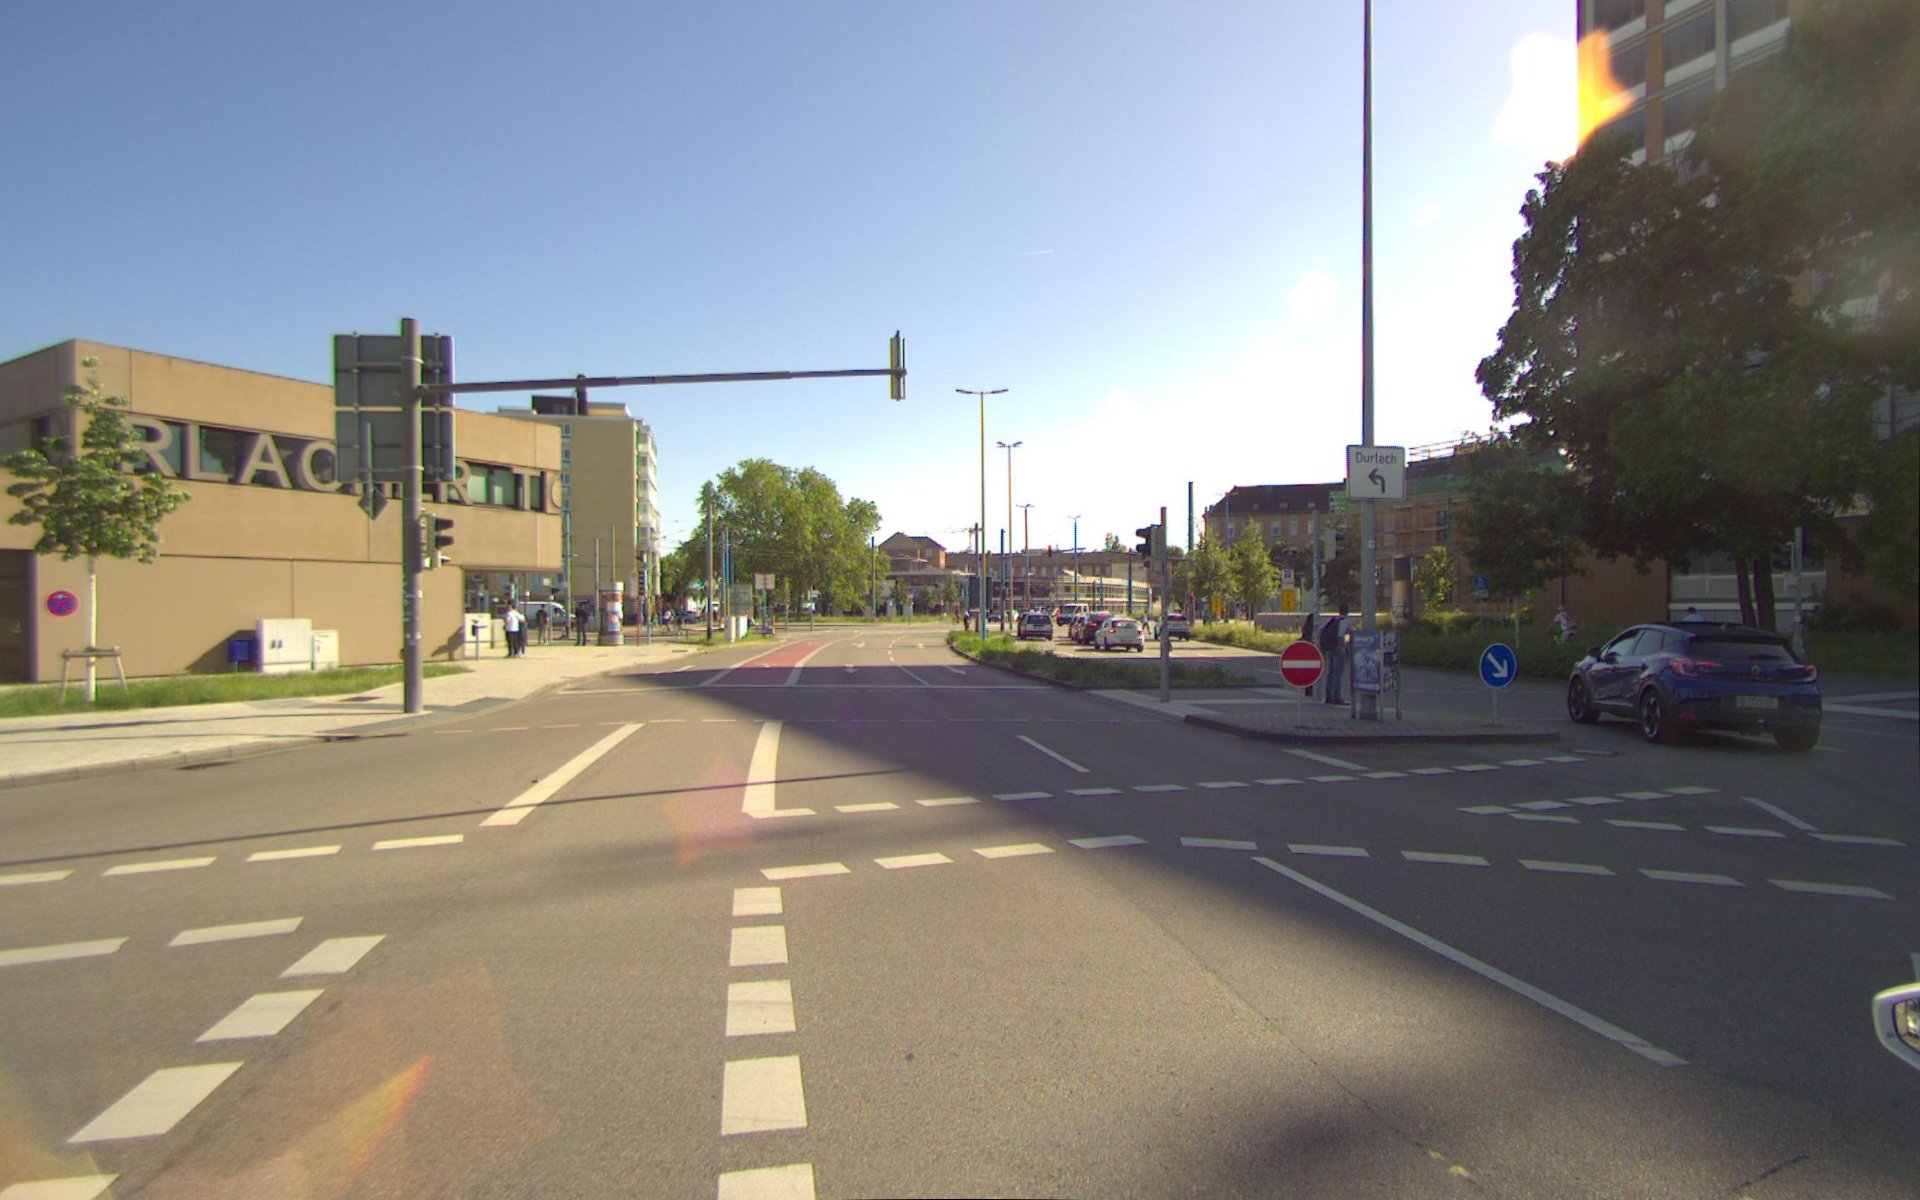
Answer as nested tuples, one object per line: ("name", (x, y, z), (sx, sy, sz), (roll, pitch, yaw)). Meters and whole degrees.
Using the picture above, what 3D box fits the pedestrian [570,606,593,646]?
("pedestrian", (-16.845, 1.150, 44.682), (0.779, 1.765, 0.643), (1, -1, 43))

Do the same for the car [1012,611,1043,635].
("car", (4.332, 1.445, 64.080), (1.695, 1.461, 3.912), (2, 0, 7))

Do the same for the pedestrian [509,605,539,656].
("pedestrian", (-14.969, 1.050, 34.514), (0.630, 1.745, 0.749), (0, -2, 3))

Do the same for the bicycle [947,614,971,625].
("bicycle", (-0.107, 2.241, 116.972), (2.610, 1.204, 0.944), (0, 2, -15))

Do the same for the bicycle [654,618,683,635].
("bicycle", (-21.434, 1.939, 73.944), (1.918, 1.180, 0.643), (0, 0, 1))

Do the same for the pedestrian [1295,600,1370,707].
("pedestrian", (6.678, 0.936, 18.018), (1.084, 1.857, 0.749), (1, -1, -33))

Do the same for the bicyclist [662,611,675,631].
("bicyclist", (-21.446, 1.534, 73.948), (0.761, 1.463, 0.643), (0, 0, 1))

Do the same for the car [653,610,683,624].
("car", (-34.119, 1.984, 117.367), (3.387, 1.530, 1.687), (0, -1, -17))

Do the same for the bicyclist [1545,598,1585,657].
("bicyclist", (18.773, 0.840, 31.197), (0.707, 1.786, 0.978), (0, 0, 6))

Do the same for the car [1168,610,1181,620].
("car", (37.907, 2.702, 177.328), (1.751, 1.565, 3.640), (1, 2, 18))

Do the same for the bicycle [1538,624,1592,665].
("bicycle", (18.772, 1.355, 31.197), (0.733, 1.180, 1.871), (0, 0, 7))

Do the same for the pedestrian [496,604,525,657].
("pedestrian", (-14.958, 1.022, 33.424), (0.779, 1.745, 0.593), (-2, -3, 43))

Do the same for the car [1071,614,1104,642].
("car", (7.322, 1.578, 57.898), (1.643, 1.461, 3.723), (2, 0, 4))

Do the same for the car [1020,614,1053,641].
("car", (4.346, 1.542, 57.320), (1.696, 1.462, 3.799), (0, 0, 2))

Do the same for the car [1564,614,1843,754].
("car", (10.204, 1.049, 14.174), (1.845, 1.639, 3.799), (-1, 0, 14))

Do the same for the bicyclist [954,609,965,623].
("bicyclist", (-0.077, 1.820, 116.951), (1.048, 1.606, 0.944), (0, 2, -14))

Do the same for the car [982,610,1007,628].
("car", (4.366, 2.346, 126.267), (1.961, 2.041, 3.998), (1, 2, 22))

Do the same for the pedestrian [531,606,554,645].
("pedestrian", (-18.635, 1.141, 44.845), (0.779, 1.745, 0.643), (-2, -3, 43))

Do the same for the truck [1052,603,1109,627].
("truck", (12.185, 1.527, 101.093), (2.190, 2.344, 6.845), (0, -1, 42))

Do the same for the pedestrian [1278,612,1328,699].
("pedestrian", (6.583, 1.056, 19.294), (0.669, 1.634, 0.718), (0, 0, -7))

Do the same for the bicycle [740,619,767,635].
("bicycle", (-15.326, 1.991, 74.590), (1.918, 1.180, 0.643), (0, 0, 1))

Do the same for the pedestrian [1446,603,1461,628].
("pedestrian", (35.276, 1.080, 71.753), (0.775, 1.776, 0.537), (0, 2, -12))

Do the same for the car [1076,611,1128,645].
("car", (7.243, 1.401, 51.616), (1.951, 1.645, 4.377), (0, -1, -1))

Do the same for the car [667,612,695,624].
("car", (-33.864, 2.177, 121.729), (3.220, 1.334, 1.519), (0, 2, -17))

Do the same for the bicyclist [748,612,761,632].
("bicyclist", (-15.248, 1.625, 74.596), (0.761, 1.463, 0.643), (0, 0, 2))

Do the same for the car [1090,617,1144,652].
("car", (6.912, 1.497, 44.539), (1.663, 1.455, 3.736), (0, -1, -2))

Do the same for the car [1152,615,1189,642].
("car", (13.308, 1.781, 63.603), (1.845, 1.639, 3.627), (1, -1, 5))

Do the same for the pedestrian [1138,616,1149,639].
("pedestrian", (13.896, 2.107, 76.127), (0.585, 1.745, 0.869), (-1, -3, 29))

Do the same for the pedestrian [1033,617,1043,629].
("pedestrian", (9.246, 2.757, 119.144), (0.854, 1.427, 0.689), (0, 2, -26))

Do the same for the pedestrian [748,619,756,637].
("pedestrian", (-16.427, 2.212, 79.193), (0.585, 1.427, 0.567), (0, 2, -16))

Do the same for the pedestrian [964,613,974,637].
("pedestrian", (0.630, 1.773, 71.286), (0.565, 1.633, 0.566), (0, 2, -25))

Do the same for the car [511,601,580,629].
("car", (-37.068, 1.353, 89.954), (5.412, 2.443, 1.994), (0, 0, -15))

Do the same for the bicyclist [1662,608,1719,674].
("bicyclist", (18.506, 1.022, 25.468), (0.708, 1.638, 0.977), (0, 0, -5))
